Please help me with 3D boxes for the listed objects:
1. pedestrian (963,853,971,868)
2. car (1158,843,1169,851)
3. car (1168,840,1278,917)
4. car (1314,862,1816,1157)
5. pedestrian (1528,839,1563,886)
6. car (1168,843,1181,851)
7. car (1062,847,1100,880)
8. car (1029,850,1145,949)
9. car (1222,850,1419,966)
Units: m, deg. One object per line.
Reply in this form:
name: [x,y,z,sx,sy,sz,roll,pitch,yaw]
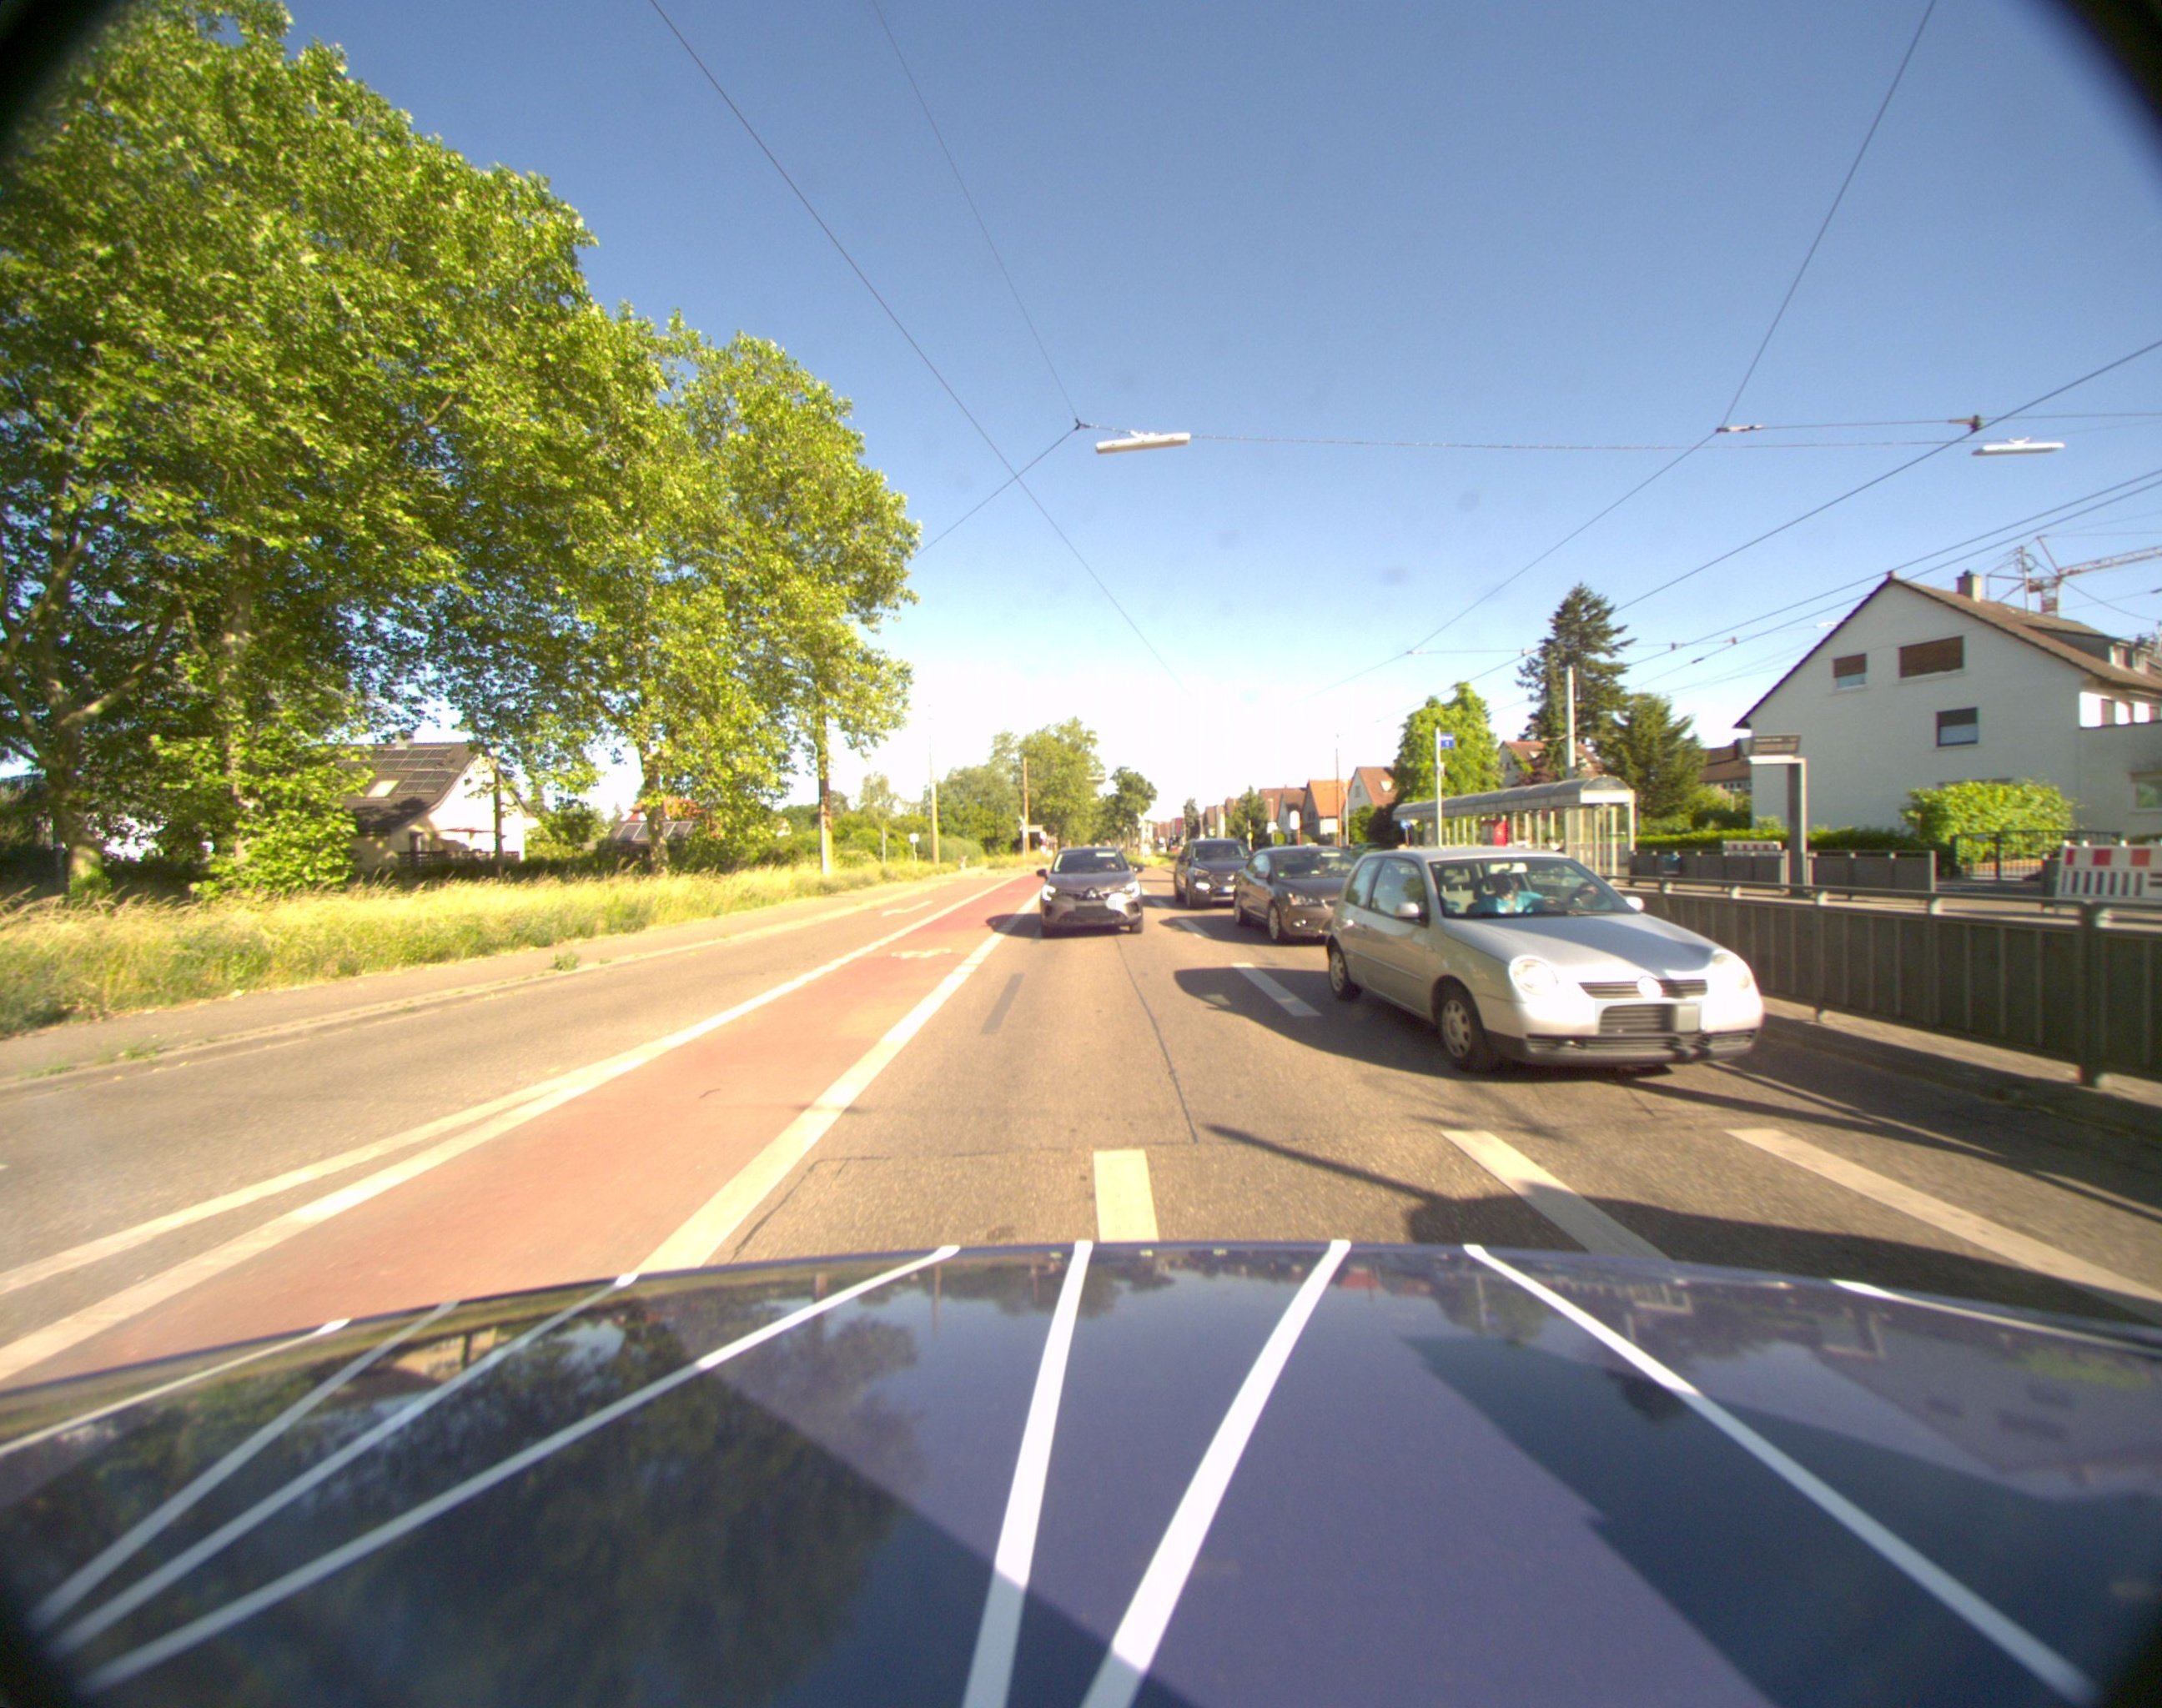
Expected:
pedestrian: [-7.717,0.433,51.371,0.482,1.027,0.454,-1,1,1]
car: [18.497,-1.568,169.908,1.998,1.761,4.000,-1,1,1]
car: [3.422,0.527,19.116,1.886,1.686,4.299,-1,1,-1]
car: [3.106,0.845,5.749,1.585,1.460,3.414,-2,1,-1]
pedestrian: [14.346,0.266,23.460,0.623,1.406,0.711,-2,1,-1]
car: [17.387,-1.362,141.381,1.998,1.455,4.000,-1,1,1]
car: [0.026,0.433,38.853,1.839,1.541,3.815,-1,1,0]
car: [0.126,0.726,14.224,1.839,1.541,3.815,-1,1,1]
car: [3.648,0.716,12.413,1.755,1.525,4.193,-1,1,-2]
